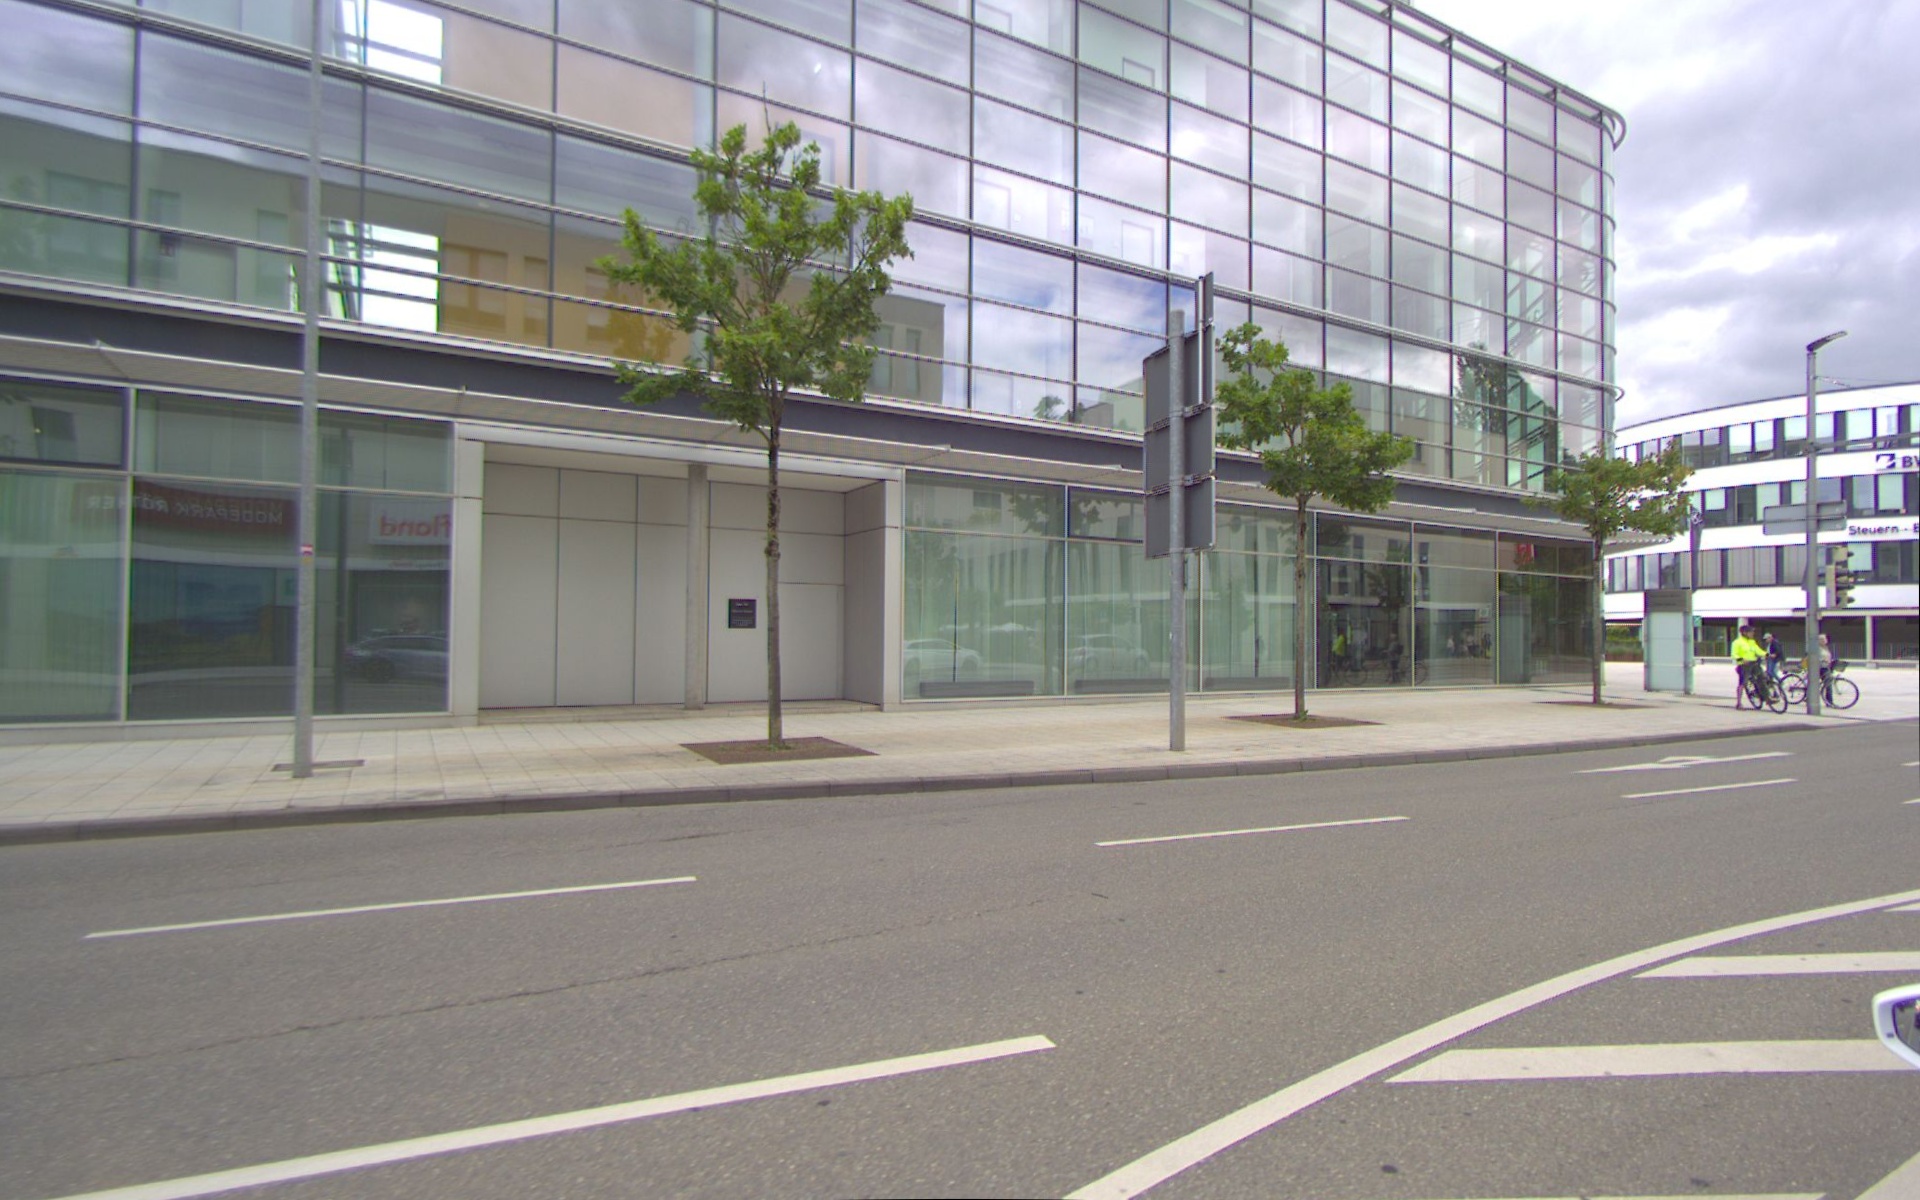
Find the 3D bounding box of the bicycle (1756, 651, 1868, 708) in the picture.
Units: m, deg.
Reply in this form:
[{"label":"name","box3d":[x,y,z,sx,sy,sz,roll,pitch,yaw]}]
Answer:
[{"label":"bicycle","box3d":[19.963,1.841,23.590,0.627,1.145,2.000,2,0,-14]}]

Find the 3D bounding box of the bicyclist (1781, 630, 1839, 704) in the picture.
[{"label":"bicyclist","box3d":[19.979,1.572,23.625,0.627,1.671,0.782,1,1,-14]}]

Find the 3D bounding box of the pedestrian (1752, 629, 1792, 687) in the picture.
[{"label":"pedestrian","box3d":[28.037,1.990,34.689,0.885,1.971,0.750,1,-1,22]}]

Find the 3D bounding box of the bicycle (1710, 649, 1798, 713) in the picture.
[{"label":"bicycle","box3d":[17.439,1.742,22.118,0.732,1.222,2.032,2,0,14]}]

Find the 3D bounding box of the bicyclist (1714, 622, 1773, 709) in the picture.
[{"label":"bicyclist","box3d":[17.187,1.419,22.052,0.732,1.824,0.774,2,1,14]}]
